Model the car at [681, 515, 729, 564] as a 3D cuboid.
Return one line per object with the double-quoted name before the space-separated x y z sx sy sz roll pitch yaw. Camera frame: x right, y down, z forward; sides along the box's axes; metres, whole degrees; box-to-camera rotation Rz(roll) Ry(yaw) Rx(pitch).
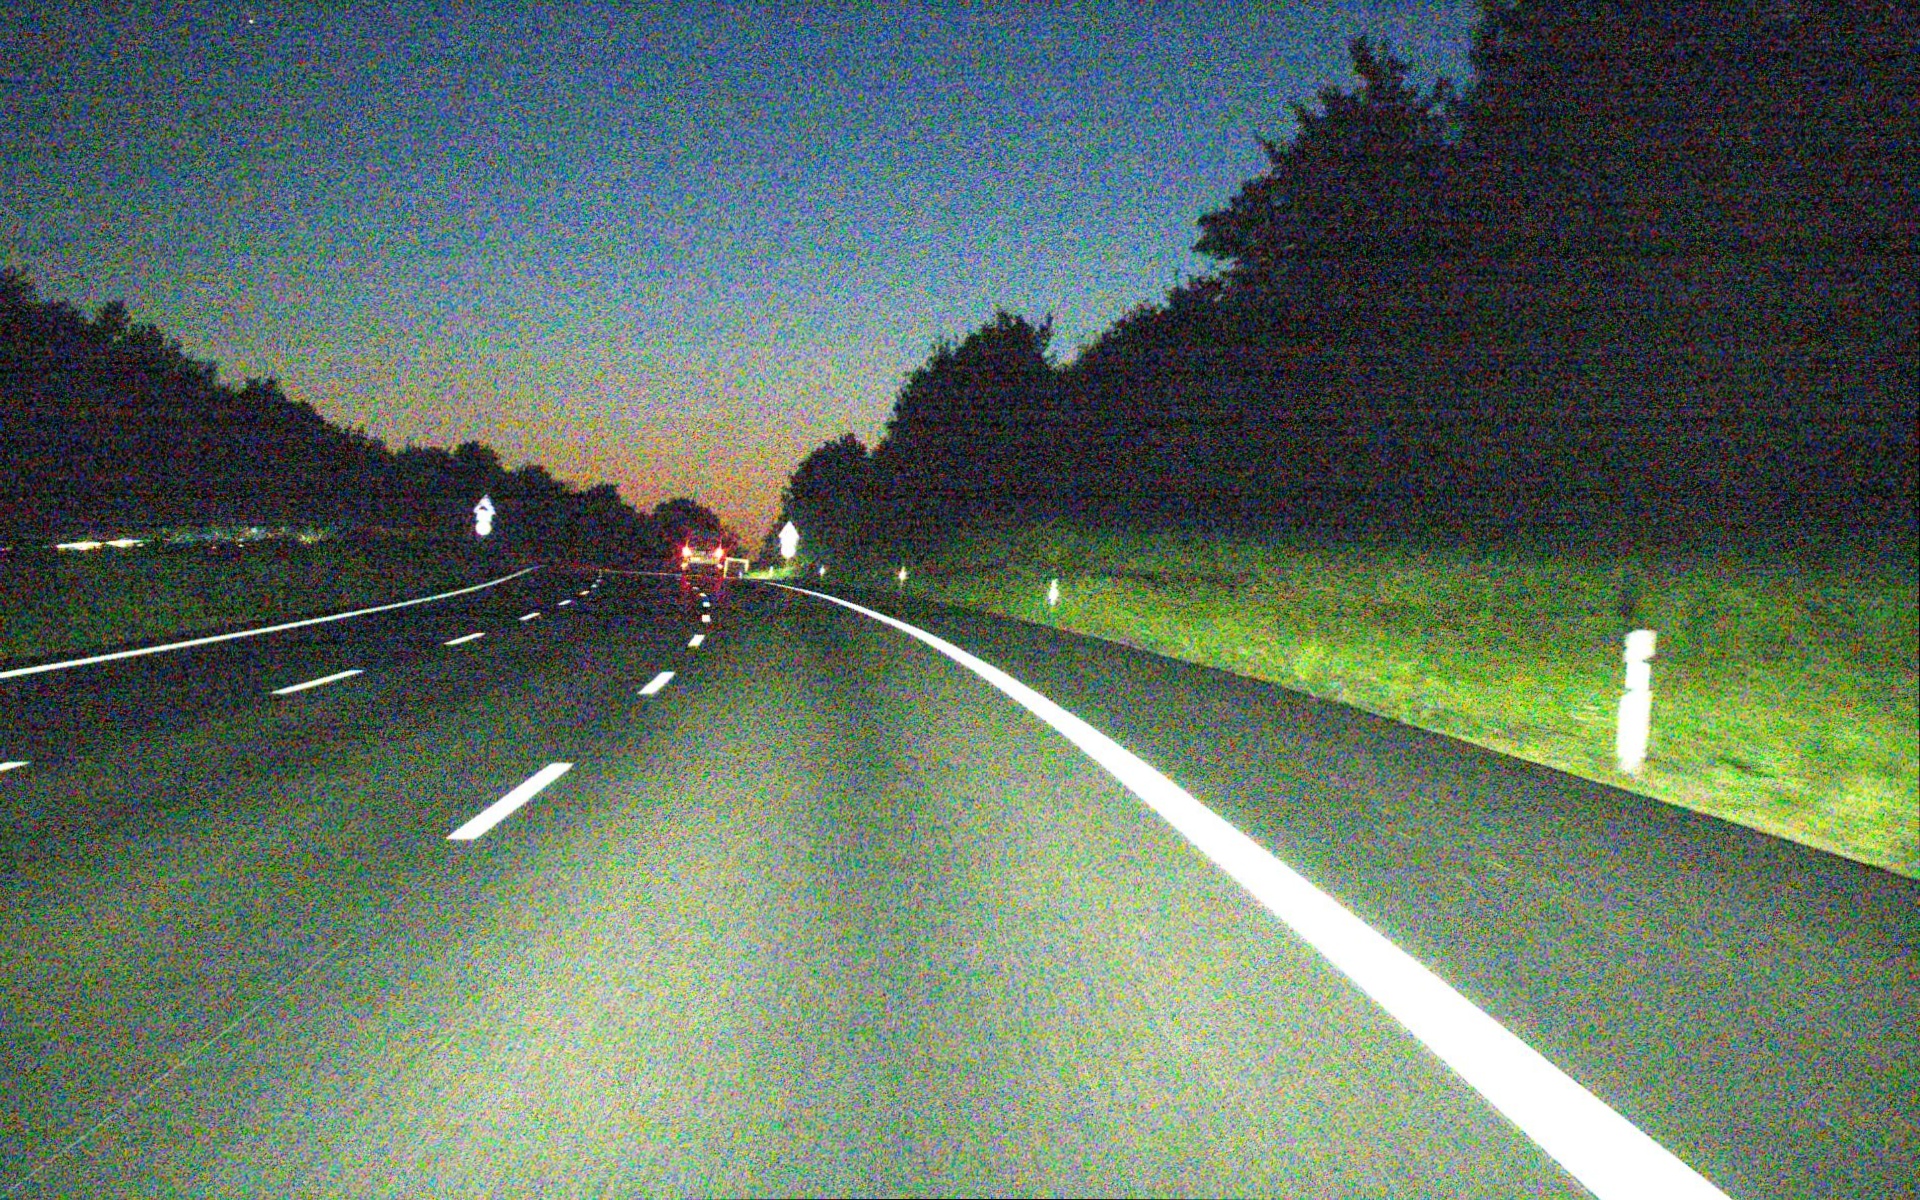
"car" -14.145 -3.328 191.149 2.527 2.544 6.052 3 0 -4
